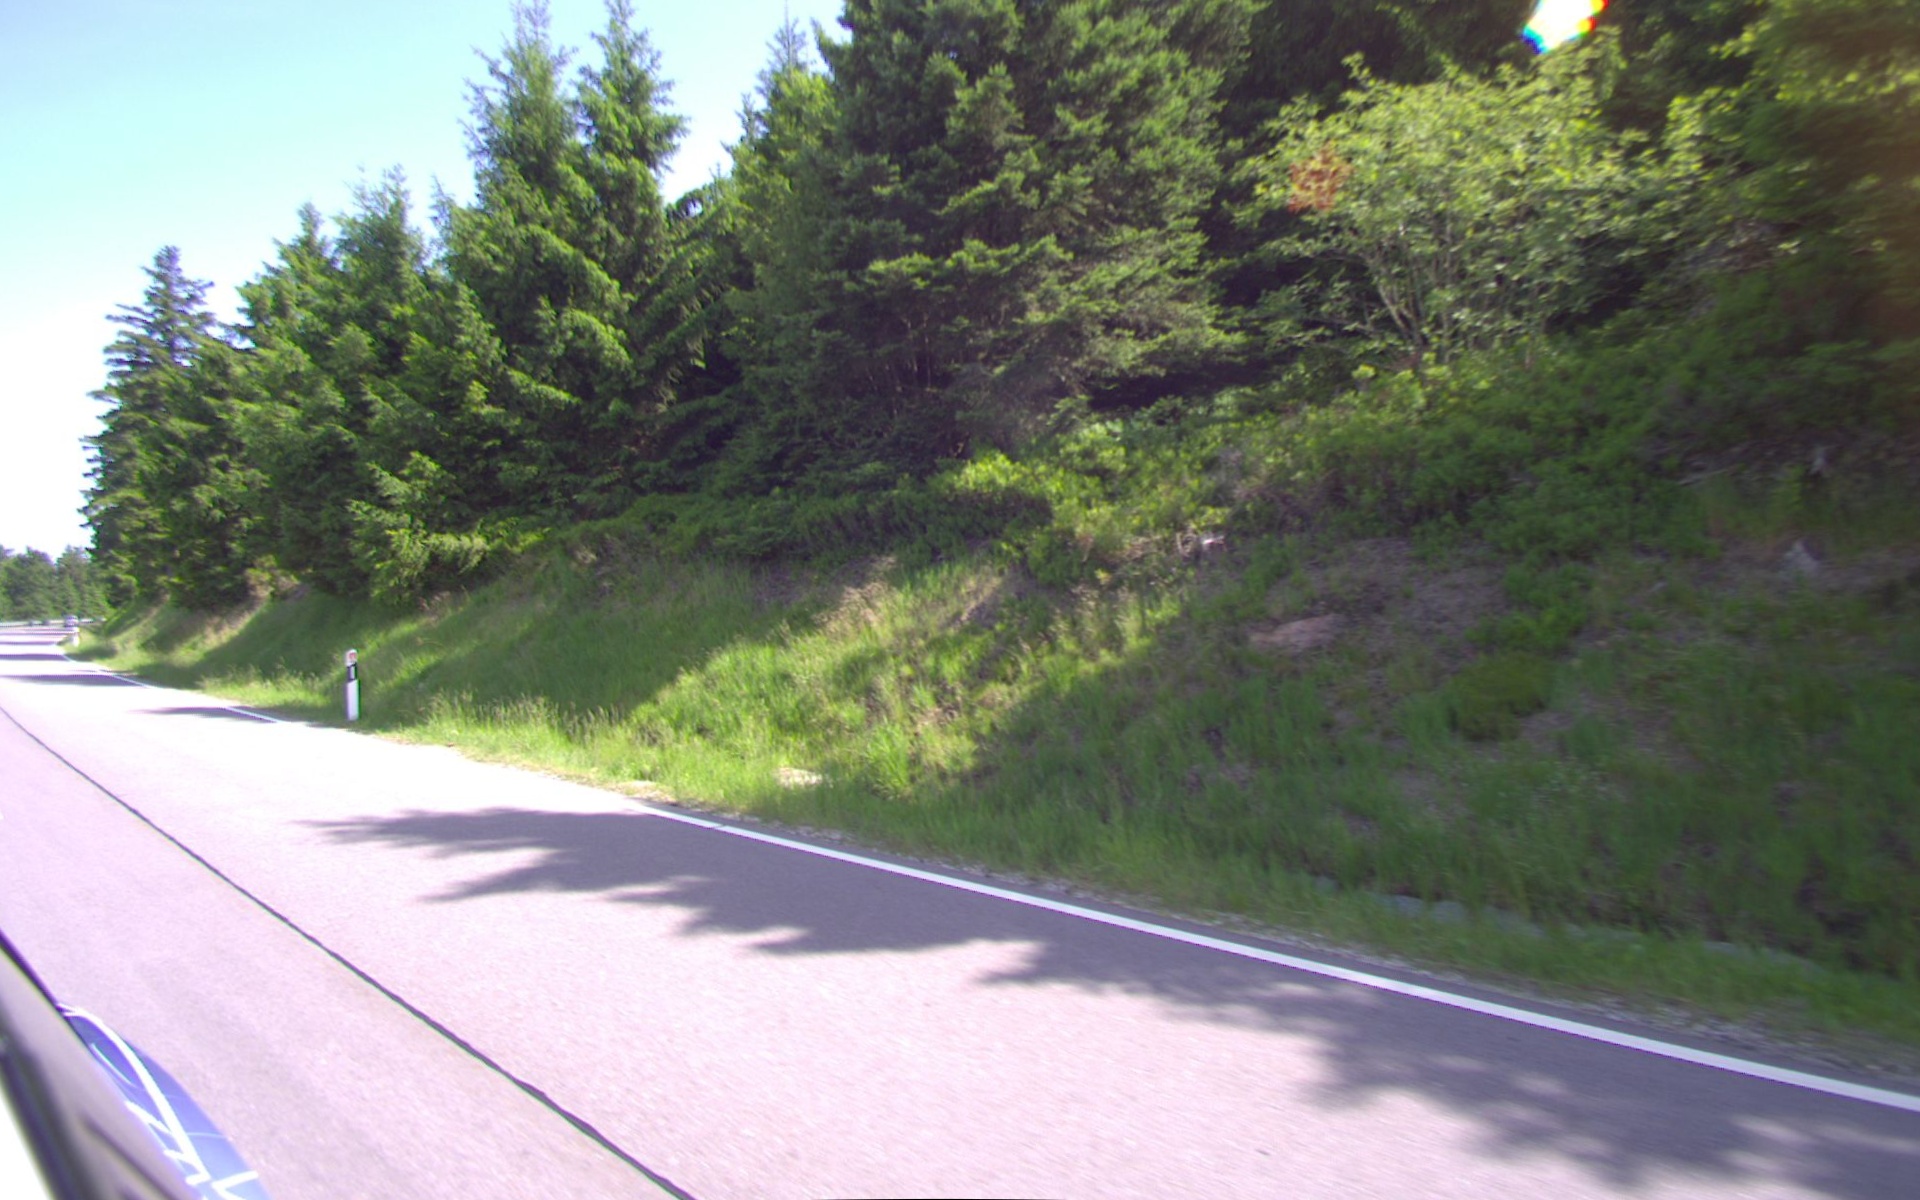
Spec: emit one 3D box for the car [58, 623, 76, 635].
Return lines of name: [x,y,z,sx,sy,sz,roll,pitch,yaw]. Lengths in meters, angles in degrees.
car: [-115.338,3.745,130.712,1.665,1.425,3.265,1,-2,-43]
